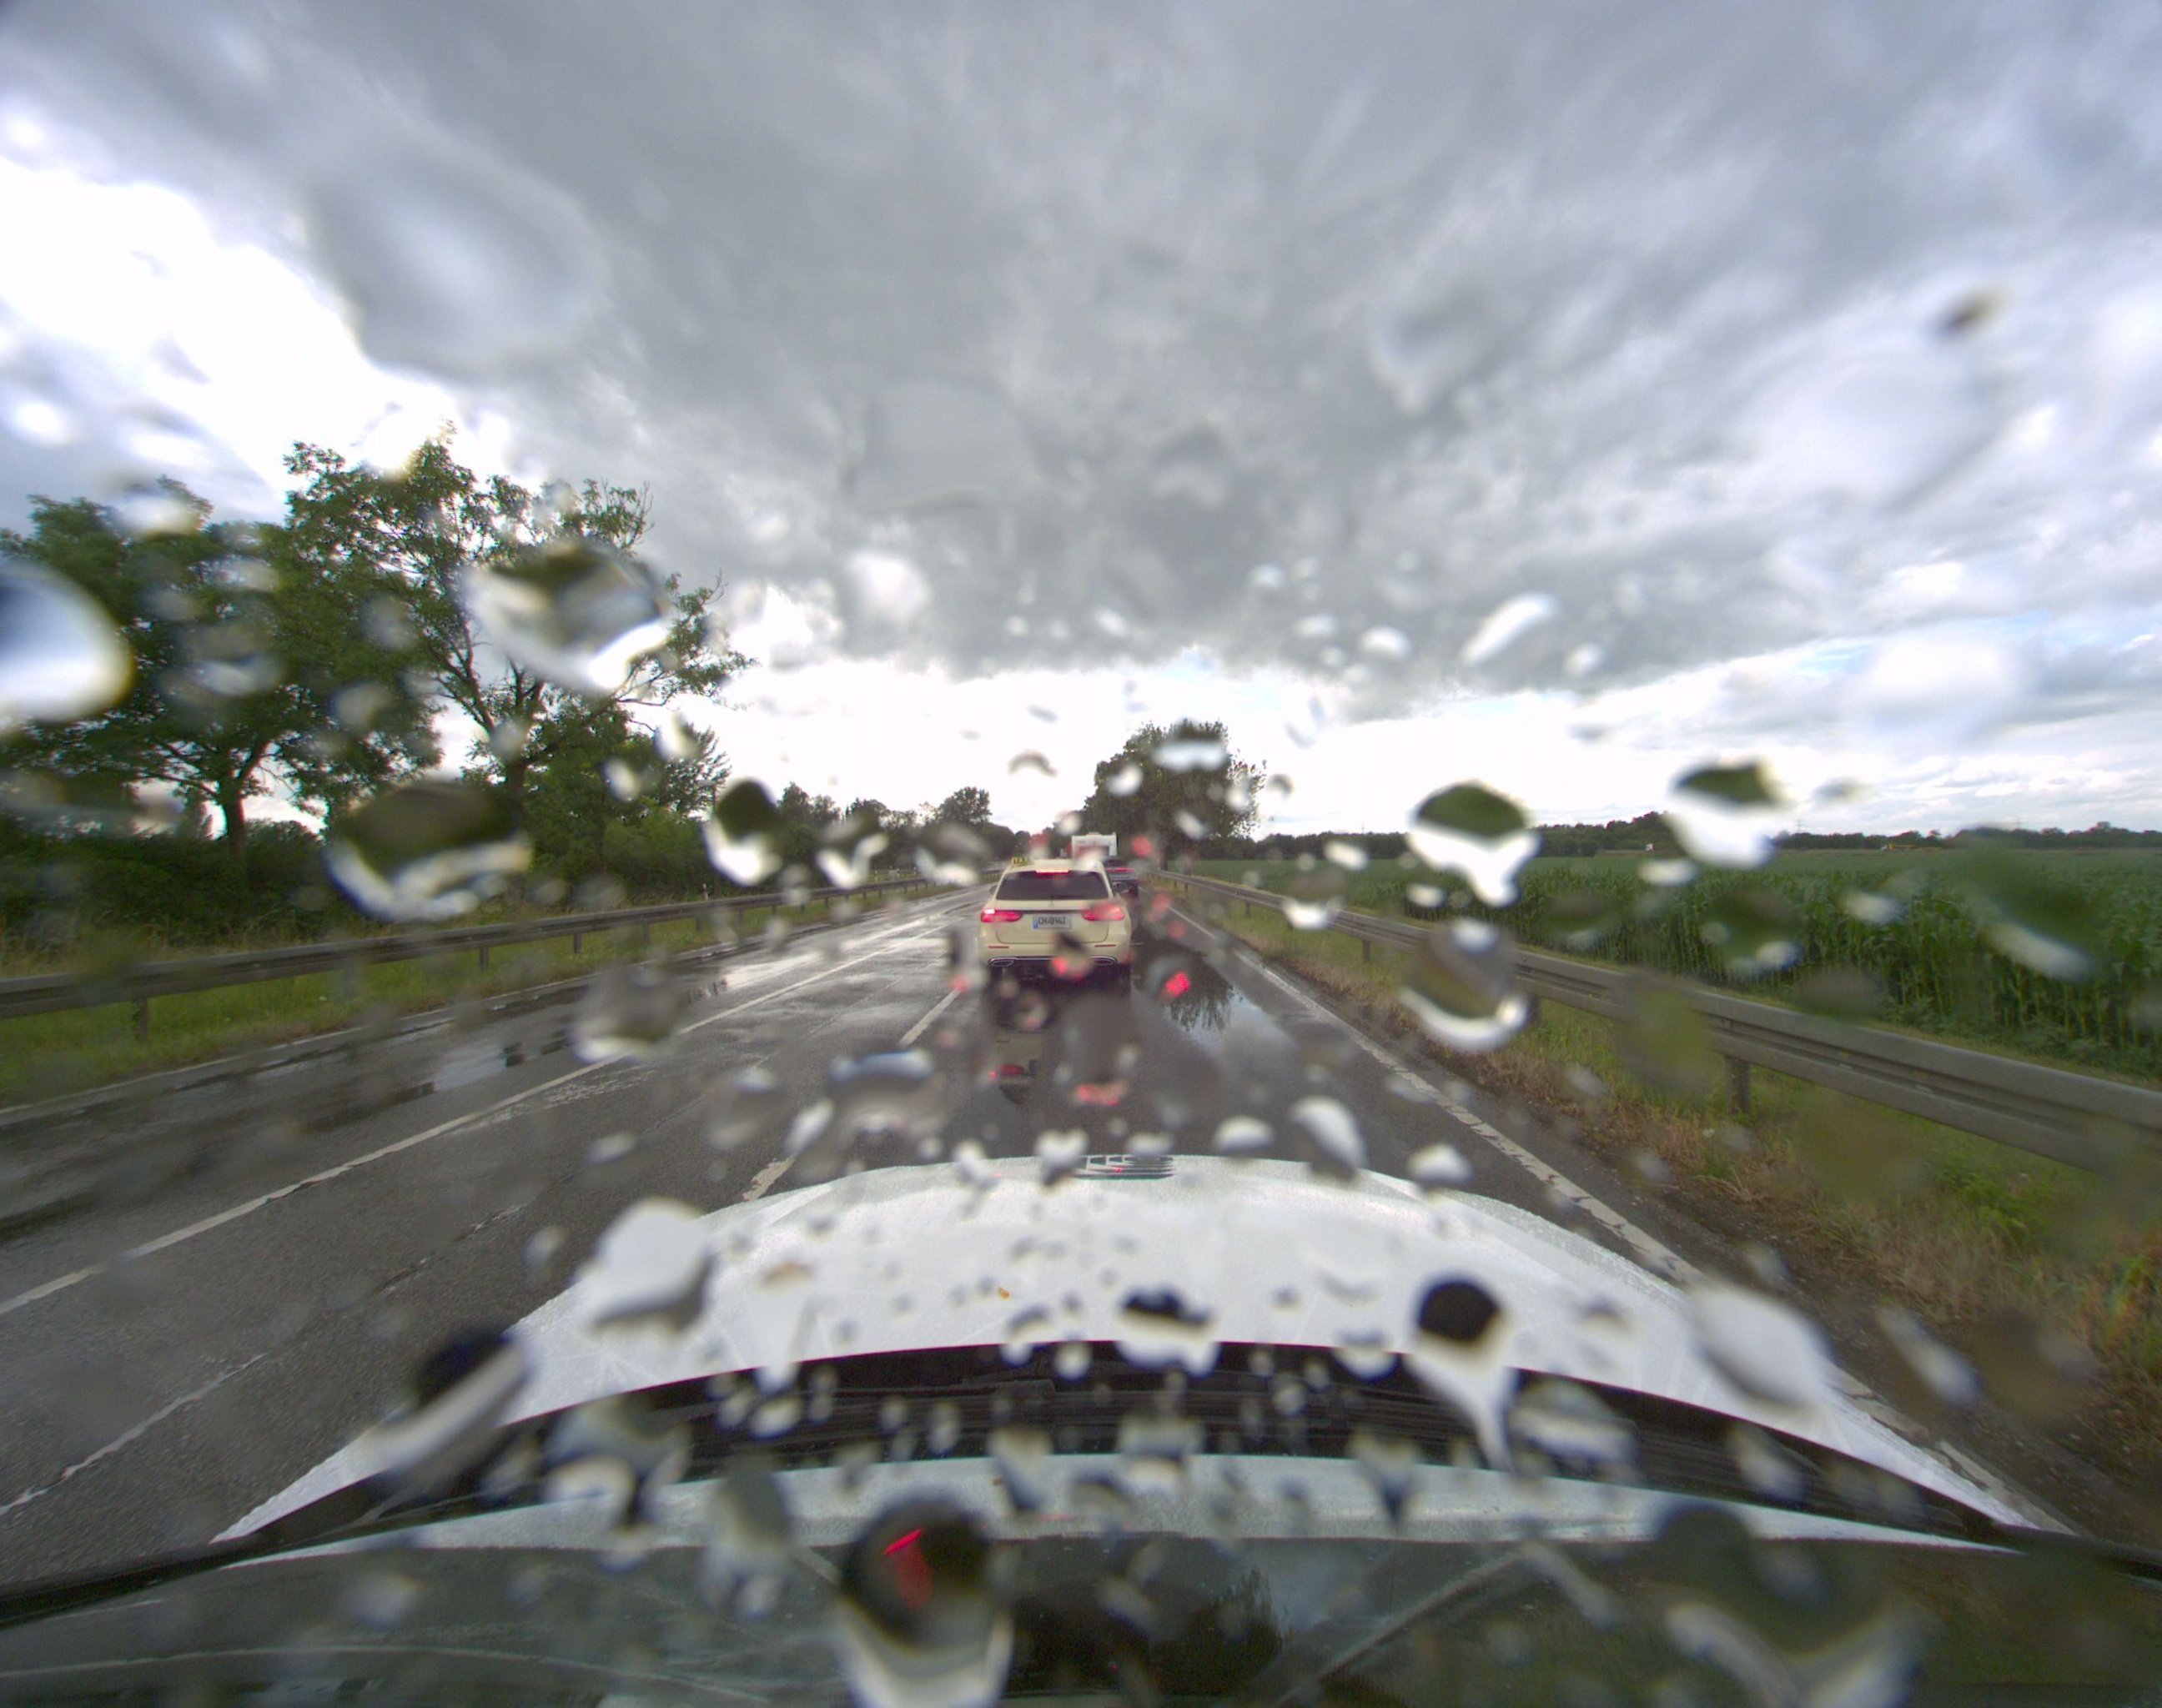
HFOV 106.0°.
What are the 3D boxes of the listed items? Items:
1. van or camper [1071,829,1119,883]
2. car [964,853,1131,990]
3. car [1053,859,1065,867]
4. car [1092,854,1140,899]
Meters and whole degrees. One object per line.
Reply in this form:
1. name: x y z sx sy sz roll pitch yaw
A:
1. van or camper: 0.804 0.096 43.593 2.342 2.680 5.771 -1 0 2
2. car: -0.268 0.750 11.027 1.817 1.485 4.148 -1 0 3
3. car: -3.656 1.553 138.171 1.752 1.269 4.002 -1 0 2
4. car: 1.280 0.768 29.988 1.621 1.529 3.934 -1 0 2
